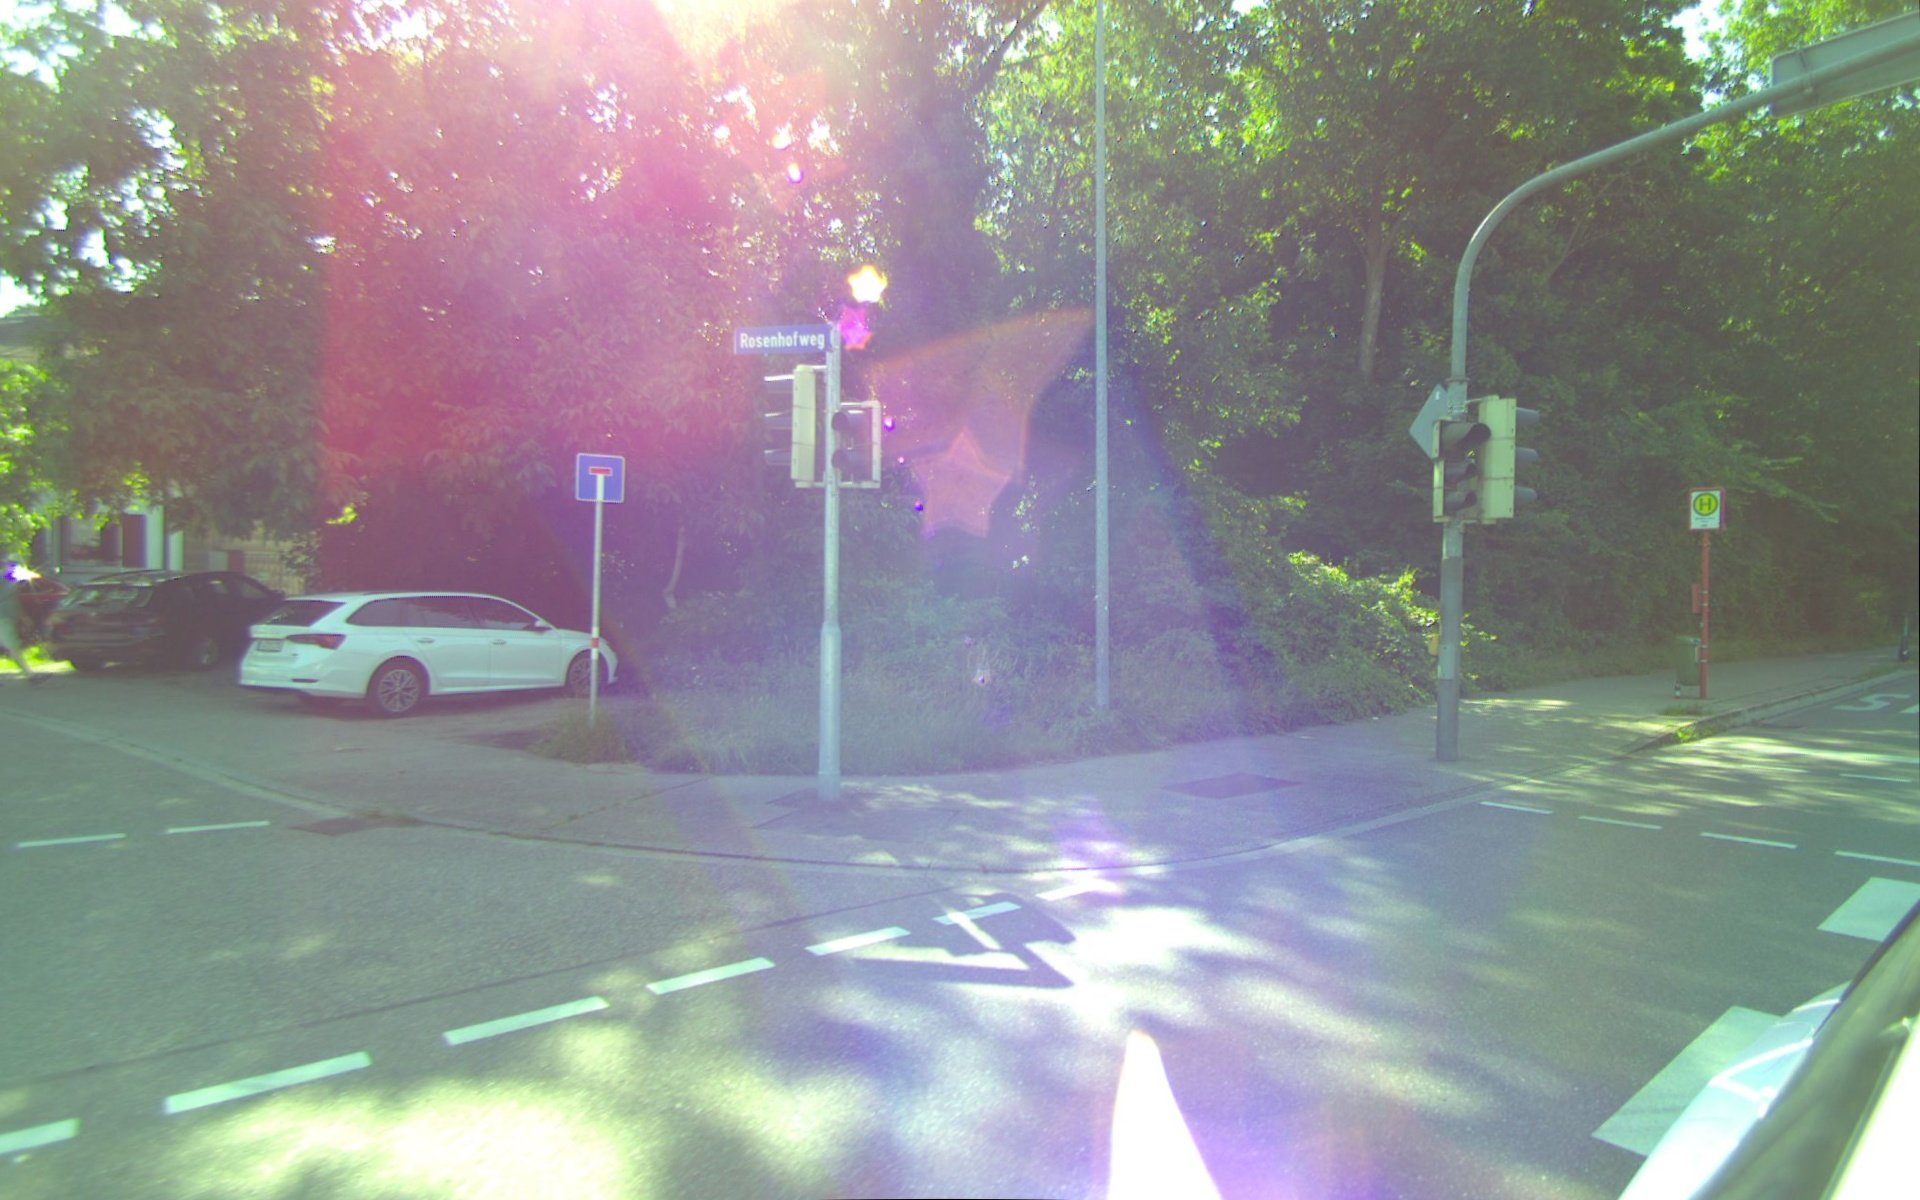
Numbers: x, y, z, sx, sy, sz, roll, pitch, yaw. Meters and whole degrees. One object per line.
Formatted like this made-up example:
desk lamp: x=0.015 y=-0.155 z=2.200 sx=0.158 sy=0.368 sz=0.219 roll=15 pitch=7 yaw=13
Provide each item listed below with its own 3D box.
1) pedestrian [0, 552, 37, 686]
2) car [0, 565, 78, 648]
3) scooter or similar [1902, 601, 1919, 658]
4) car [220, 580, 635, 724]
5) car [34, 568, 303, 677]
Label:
pedestrian: x=-11.918 y=0.225 z=12.557 sx=0.412 sy=1.650 sz=0.602 roll=2 pitch=1 yaw=35
car: x=-18.241 y=0.122 z=17.747 sx=1.606 sy=1.482 sz=3.969 roll=1 pitch=1 yaw=16
scooter or similar: x=22.844 y=0.694 z=24.103 sx=0.398 sy=1.323 sz=1.313 roll=1 pitch=1 yaw=36
car: x=-6.526 y=0.508 z=12.997 sx=1.616 sy=1.482 sz=4.565 roll=2 pitch=1 yaw=30
car: x=-12.142 y=0.259 z=15.864 sx=1.596 sy=1.482 sz=3.796 roll=1 pitch=1 yaw=-7
